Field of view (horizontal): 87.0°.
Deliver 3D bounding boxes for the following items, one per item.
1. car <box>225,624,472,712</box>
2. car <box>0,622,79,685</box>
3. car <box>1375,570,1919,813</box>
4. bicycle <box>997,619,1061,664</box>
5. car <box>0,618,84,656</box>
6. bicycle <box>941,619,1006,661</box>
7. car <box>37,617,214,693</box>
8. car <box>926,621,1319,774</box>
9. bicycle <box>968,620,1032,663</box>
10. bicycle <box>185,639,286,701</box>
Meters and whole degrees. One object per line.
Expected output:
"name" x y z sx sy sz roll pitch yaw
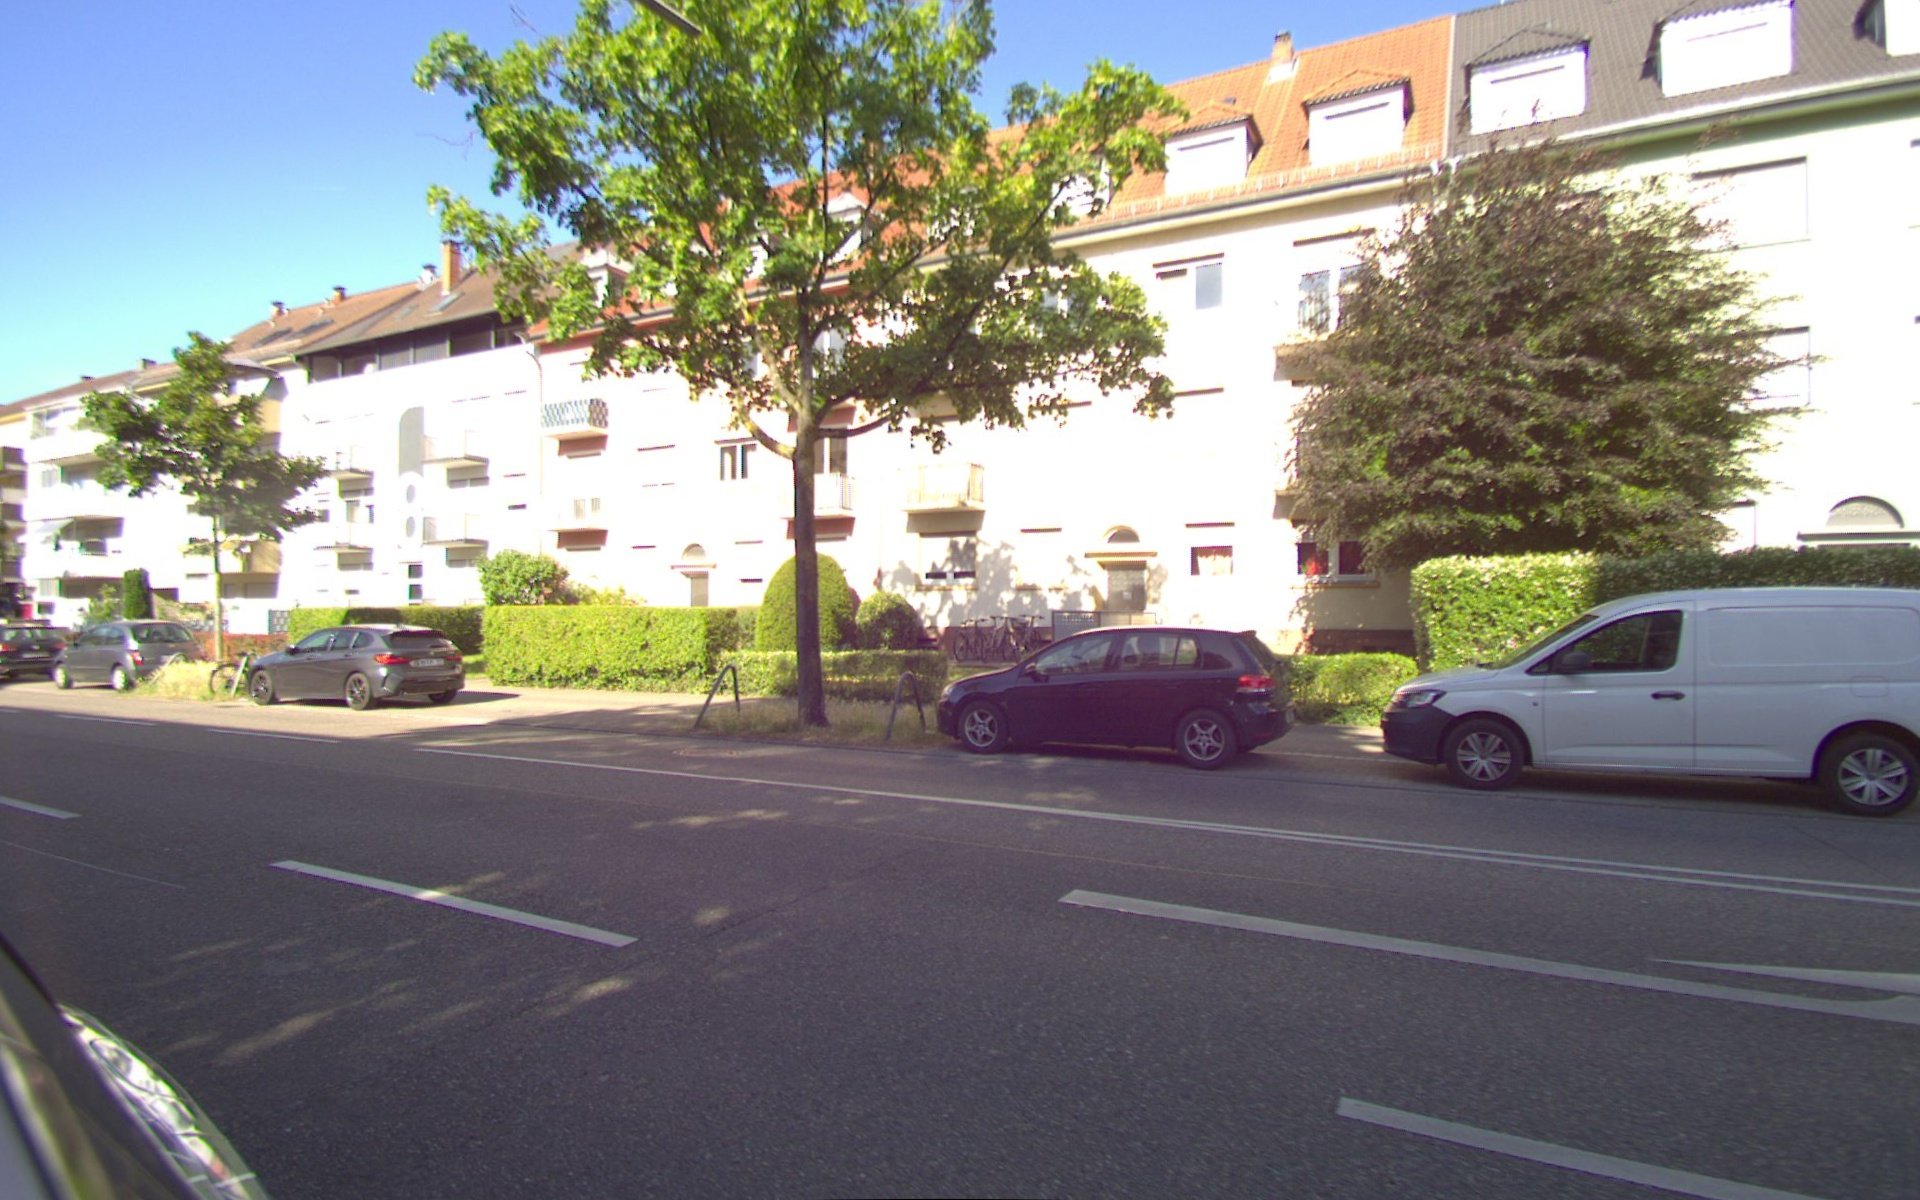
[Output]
"car" -11.138 1.177 18.408 4.340 1.419 1.758 -1 -1 25
"car" -24.605 1.331 25.745 4.470 1.504 1.775 -1 -2 27
"car" 6.286 0.724 9.193 4.538 1.848 1.808 -1 -1 27
"bicycle" 1.578 0.914 22.768 0.570 0.950 2.101 -1 -1 30
"car" -39.956 1.557 42.832 1.872 1.498 3.963 -1 -1 27
"bicycle" 0.351 0.912 23.785 0.570 0.937 2.101 -1 -1 30
"car" -18.775 1.204 22.770 3.637 1.537 1.667 -1 0 25
"car" 1.786 0.974 11.454 4.093 1.468 1.660 -1 -1 29
"bicycle" 0.947 0.940 23.395 0.570 0.936 2.101 -1 -1 30
"bicycle" -14.202 1.350 19.874 0.545 1.143 1.534 -1 -2 26
